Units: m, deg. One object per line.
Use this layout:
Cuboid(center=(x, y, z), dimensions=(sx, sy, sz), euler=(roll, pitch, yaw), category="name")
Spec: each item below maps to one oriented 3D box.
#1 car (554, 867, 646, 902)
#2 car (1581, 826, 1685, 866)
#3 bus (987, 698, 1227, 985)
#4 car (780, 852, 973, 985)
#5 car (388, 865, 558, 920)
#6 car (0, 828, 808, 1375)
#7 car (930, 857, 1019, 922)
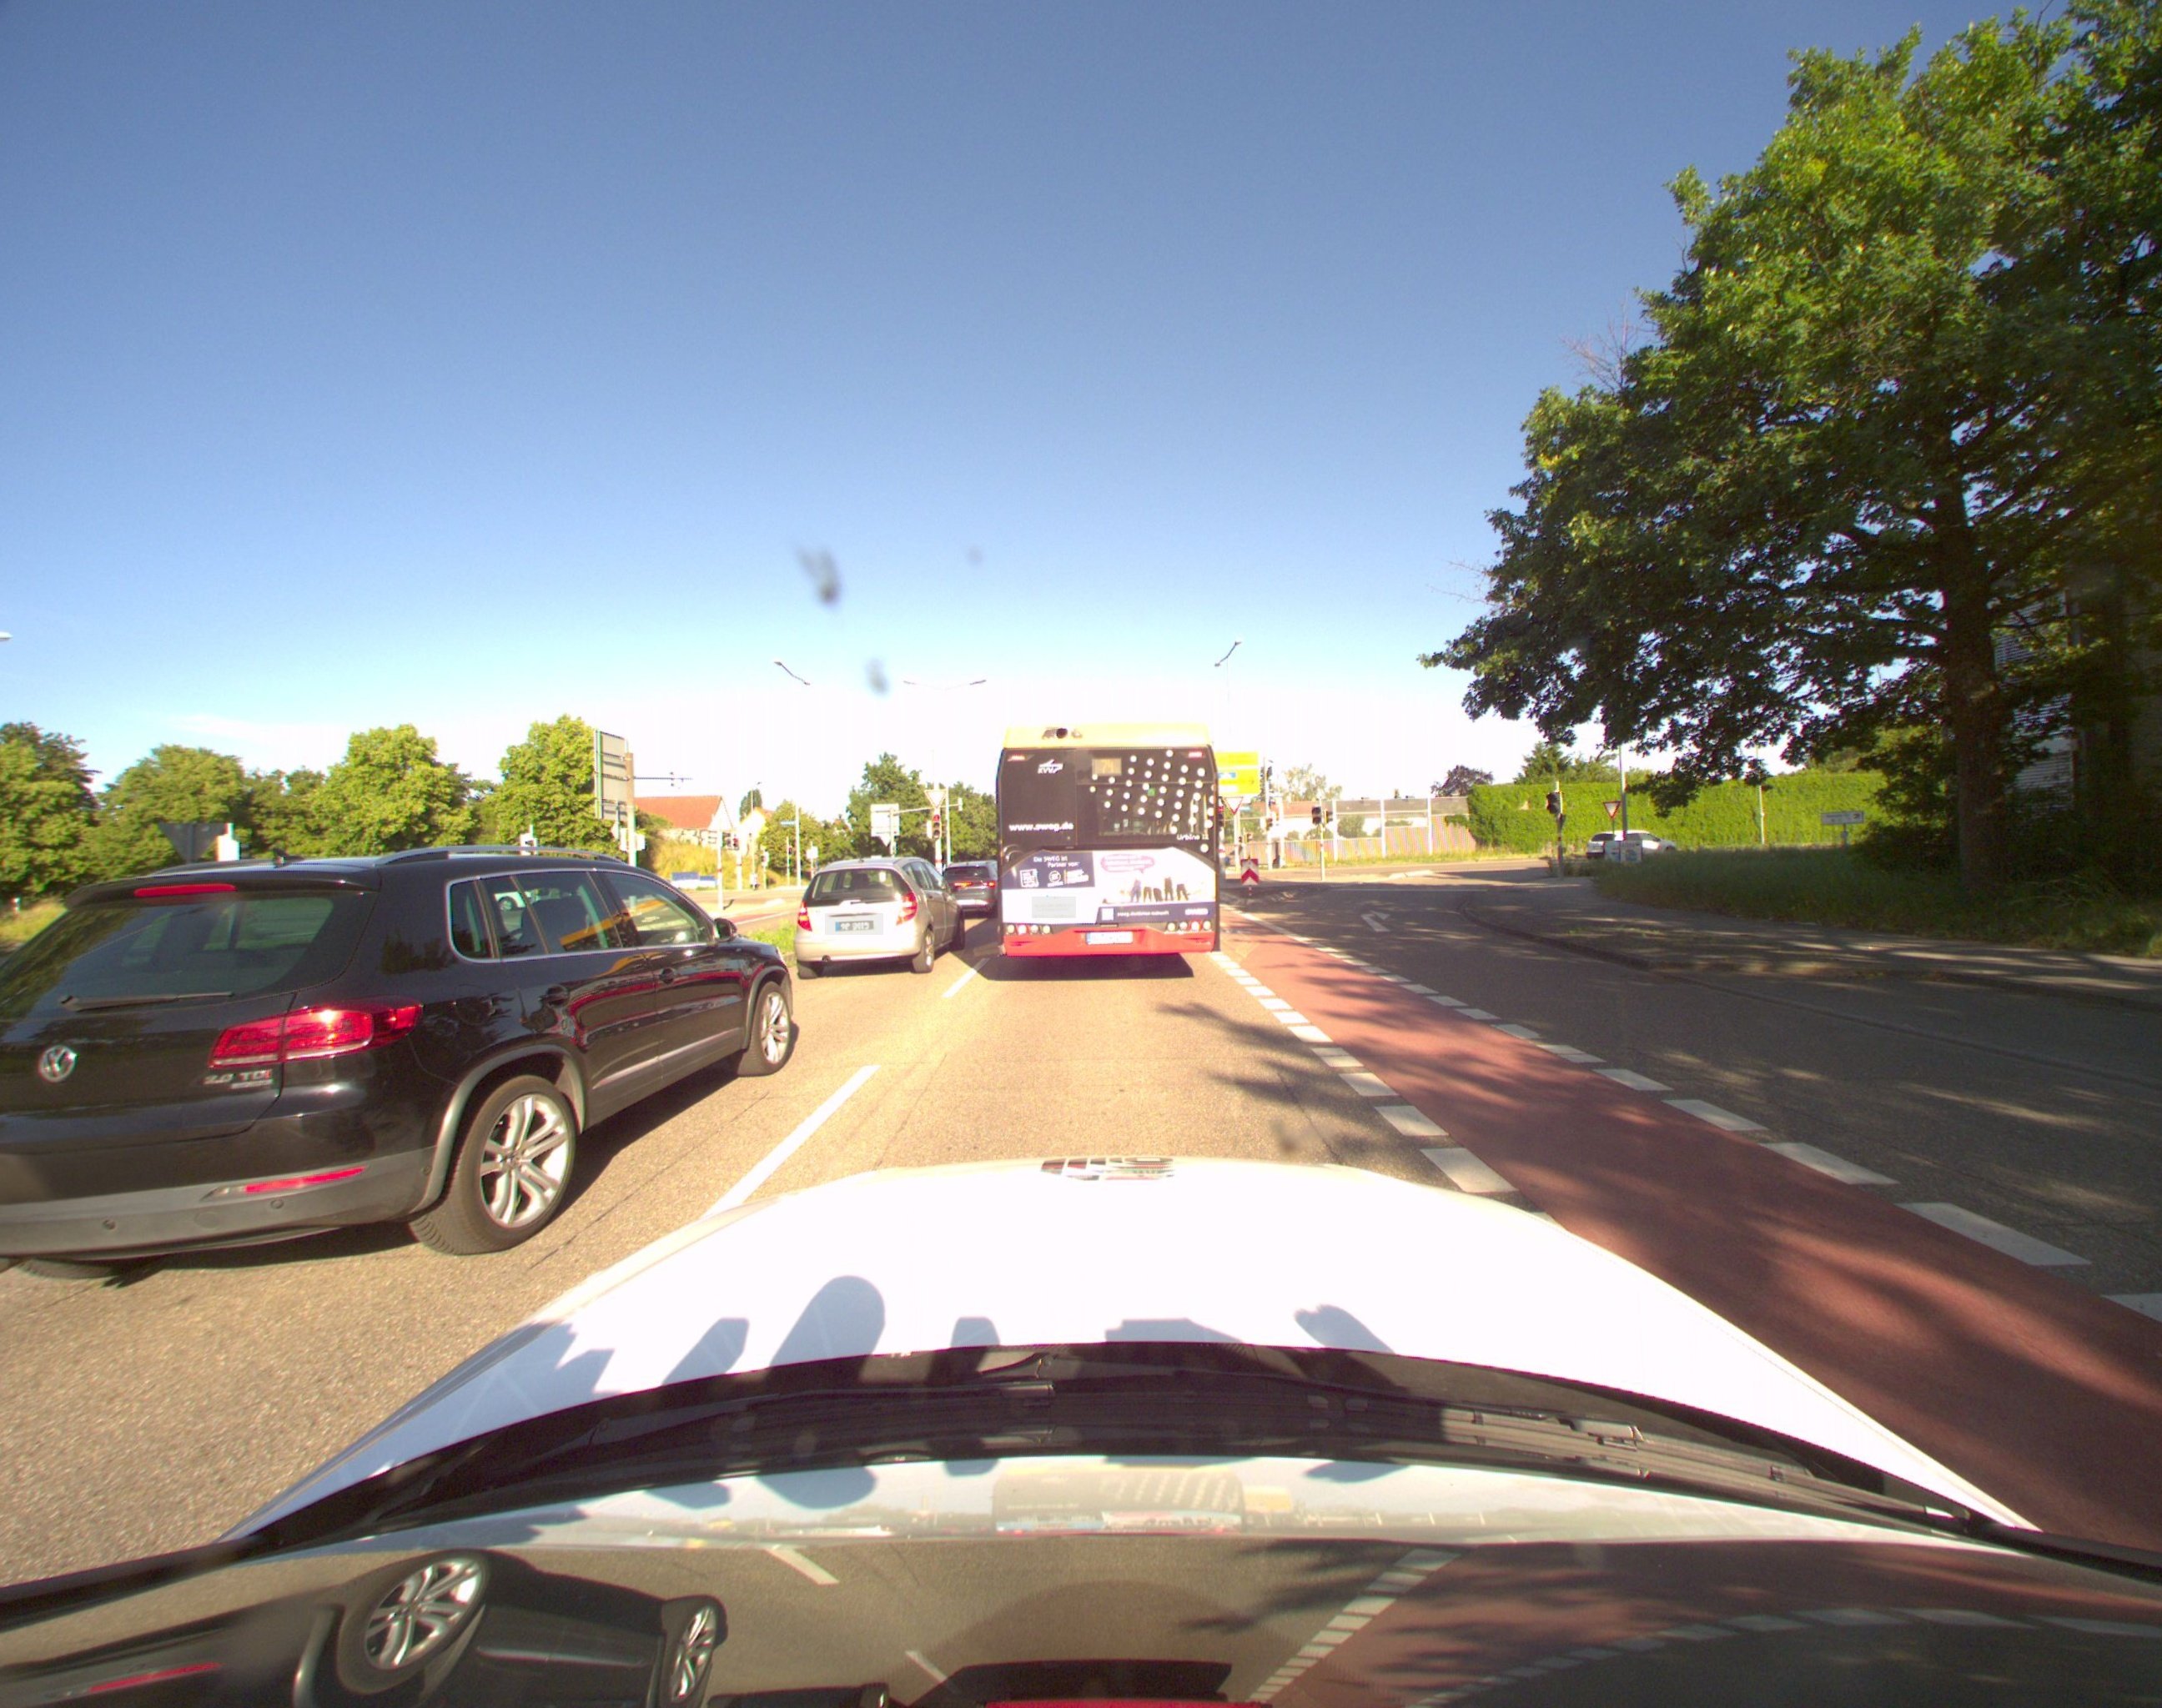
Cuboid(center=(-24.570, 1.536, 41.679), dimensions=(3.577, 1.560, 1.747), euler=(-2, 0, -5), category="car")
Cuboid(center=(25.379, -0.392, 37.448), dimensions=(4.061, 1.607, 1.714), euler=(-3, 1, -15), category="car")
Cuboid(center=(0.524, -0.166, 15.024), dimensions=(2.632, 3.167, 11.867), euler=(-1, 0, 2), category="bus")
Cuboid(center=(-2.874, 0.823, 12.387), dimensions=(1.755, 1.589, 4.001), euler=(-3, 0, 1), category="car")
Cuboid(center=(-25.629, 1.587, 34.506), dimensions=(5.375, 2.118, 2.178), euler=(-1, -1, -4), category="car")
Cuboid(center=(-3.170, 0.798, 4.560), dimensions=(1.766, 1.653, 4.001), euler=(-3, 0, 1), category="car")
Cuboid(center=(-2.688, 0.855, 21.320), dimensions=(1.686, 1.458, 3.751), euler=(-3, 0, 1), category="car")
